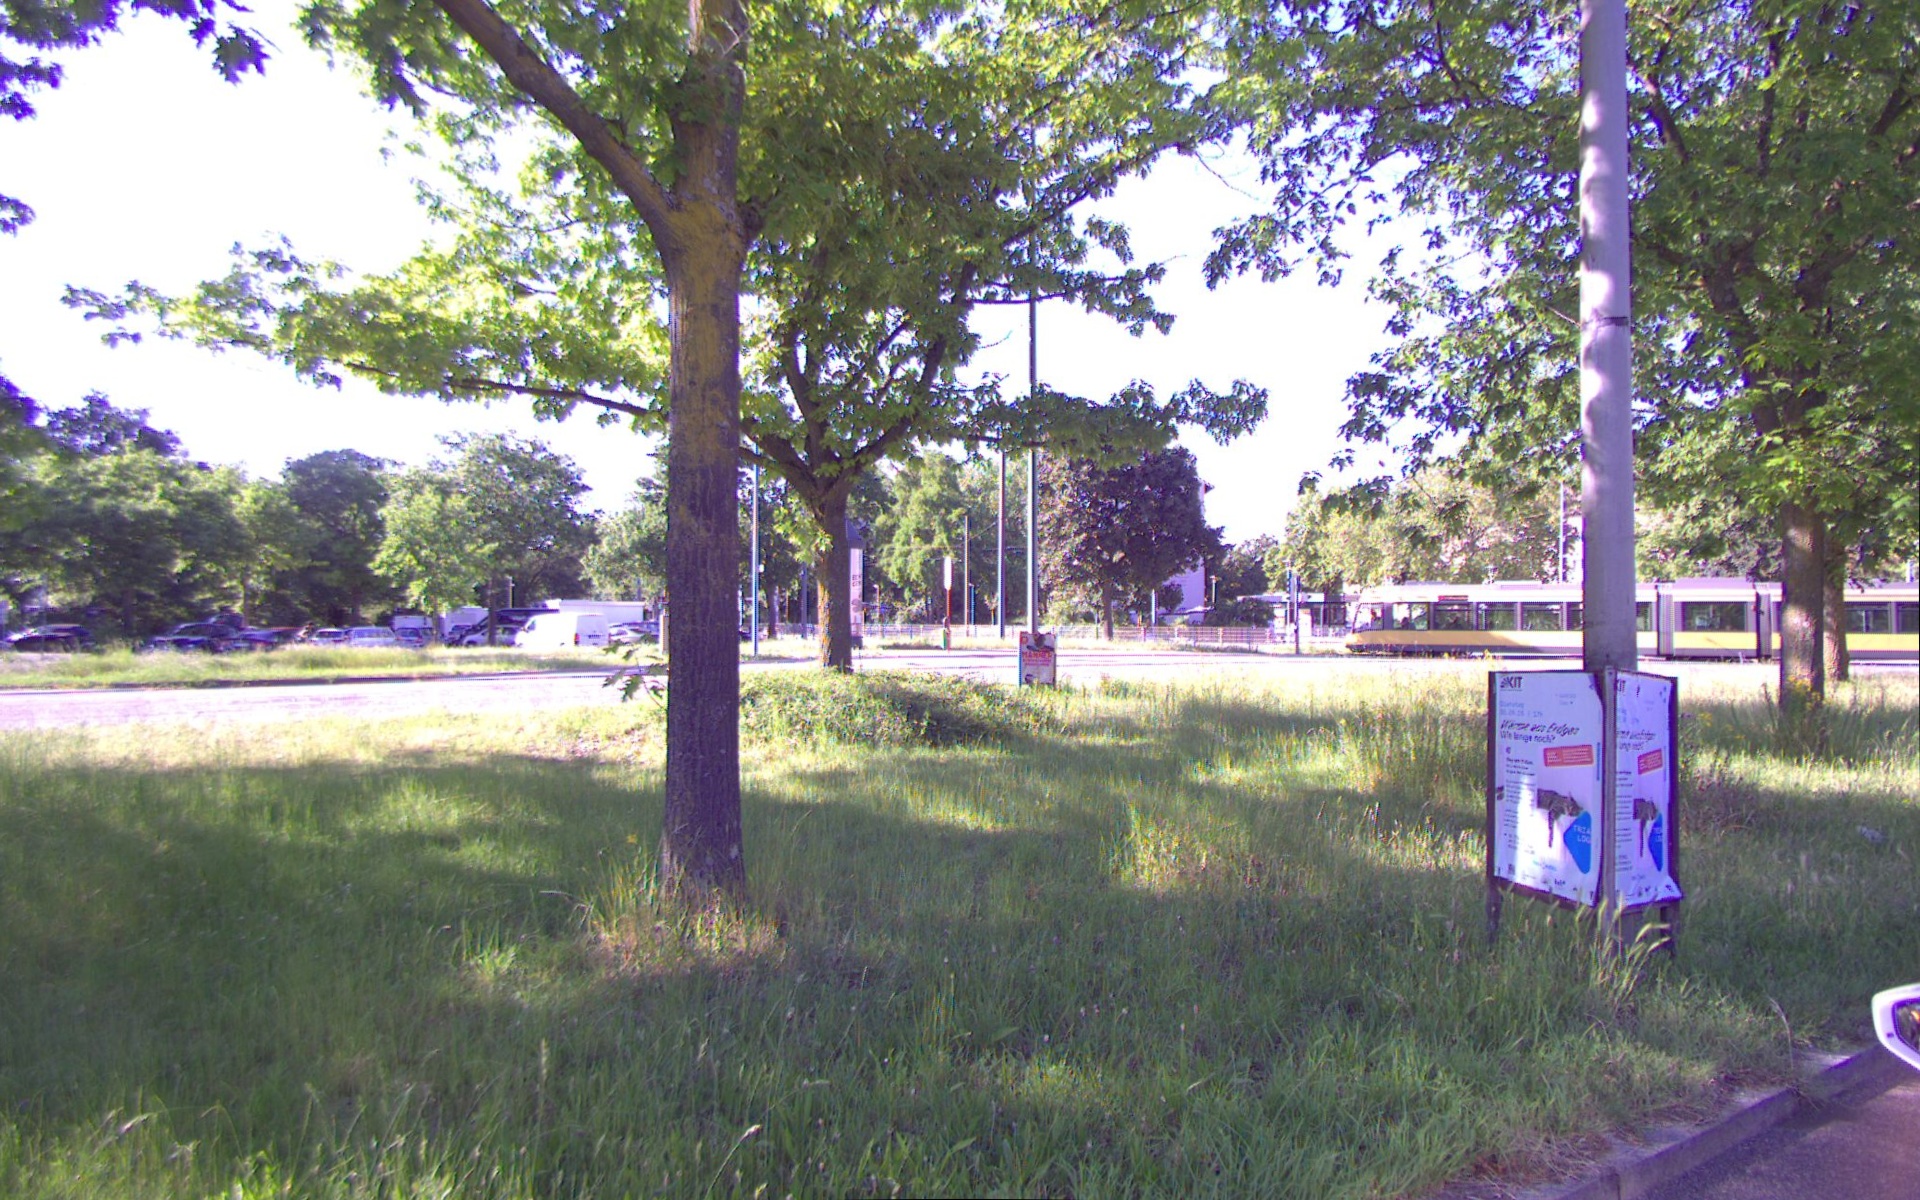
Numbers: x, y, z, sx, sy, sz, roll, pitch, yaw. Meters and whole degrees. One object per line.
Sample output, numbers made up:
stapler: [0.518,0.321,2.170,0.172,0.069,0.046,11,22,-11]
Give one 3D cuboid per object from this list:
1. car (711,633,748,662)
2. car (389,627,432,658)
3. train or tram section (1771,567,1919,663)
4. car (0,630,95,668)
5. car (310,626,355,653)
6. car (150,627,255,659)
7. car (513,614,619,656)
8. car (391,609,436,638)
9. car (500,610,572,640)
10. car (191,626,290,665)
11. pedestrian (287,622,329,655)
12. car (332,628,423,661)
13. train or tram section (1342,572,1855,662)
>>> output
car: [-12.026,2.463,52.490,1.589,1.438,3.073,0,-1,-8]
car: [-26.697,2.038,48.782,1.602,1.438,3.050,1,-1,-33]
train or tram section: [44.951,0.630,40.056,20.386,3.820,3.308,0,-1,12]
car: [-47.660,2.510,52.004,1.966,1.817,3.990,0,-1,32]
car: [-29.290,1.834,46.869,1.603,1.194,3.047,1,-1,-35]
car: [-26.839,1.512,35.633,1.315,1.078,2.777,-1,-1,42]
car: [-17.214,1.483,43.804,4.670,1.762,2.024,0,-1,34]
car: [-32.484,1.377,59.790,1.865,1.691,3.733,1,-1,-22]
car: [-24.125,1.424,57.293,3.698,1.691,1.883,1,-1,-23]
car: [-25.230,1.571,35.248,2.769,1.323,1.326,1,-1,-40]
pedestrian: [-26.721,1.569,41.166,1.130,1.292,1.105,0,-1,33]
car: [-21.823,1.642,37.638,2.769,1.171,1.326,1,-1,-40]
train or tram section: [27.422,0.738,45.165,19.012,3.559,3.305,0,-1,23]
